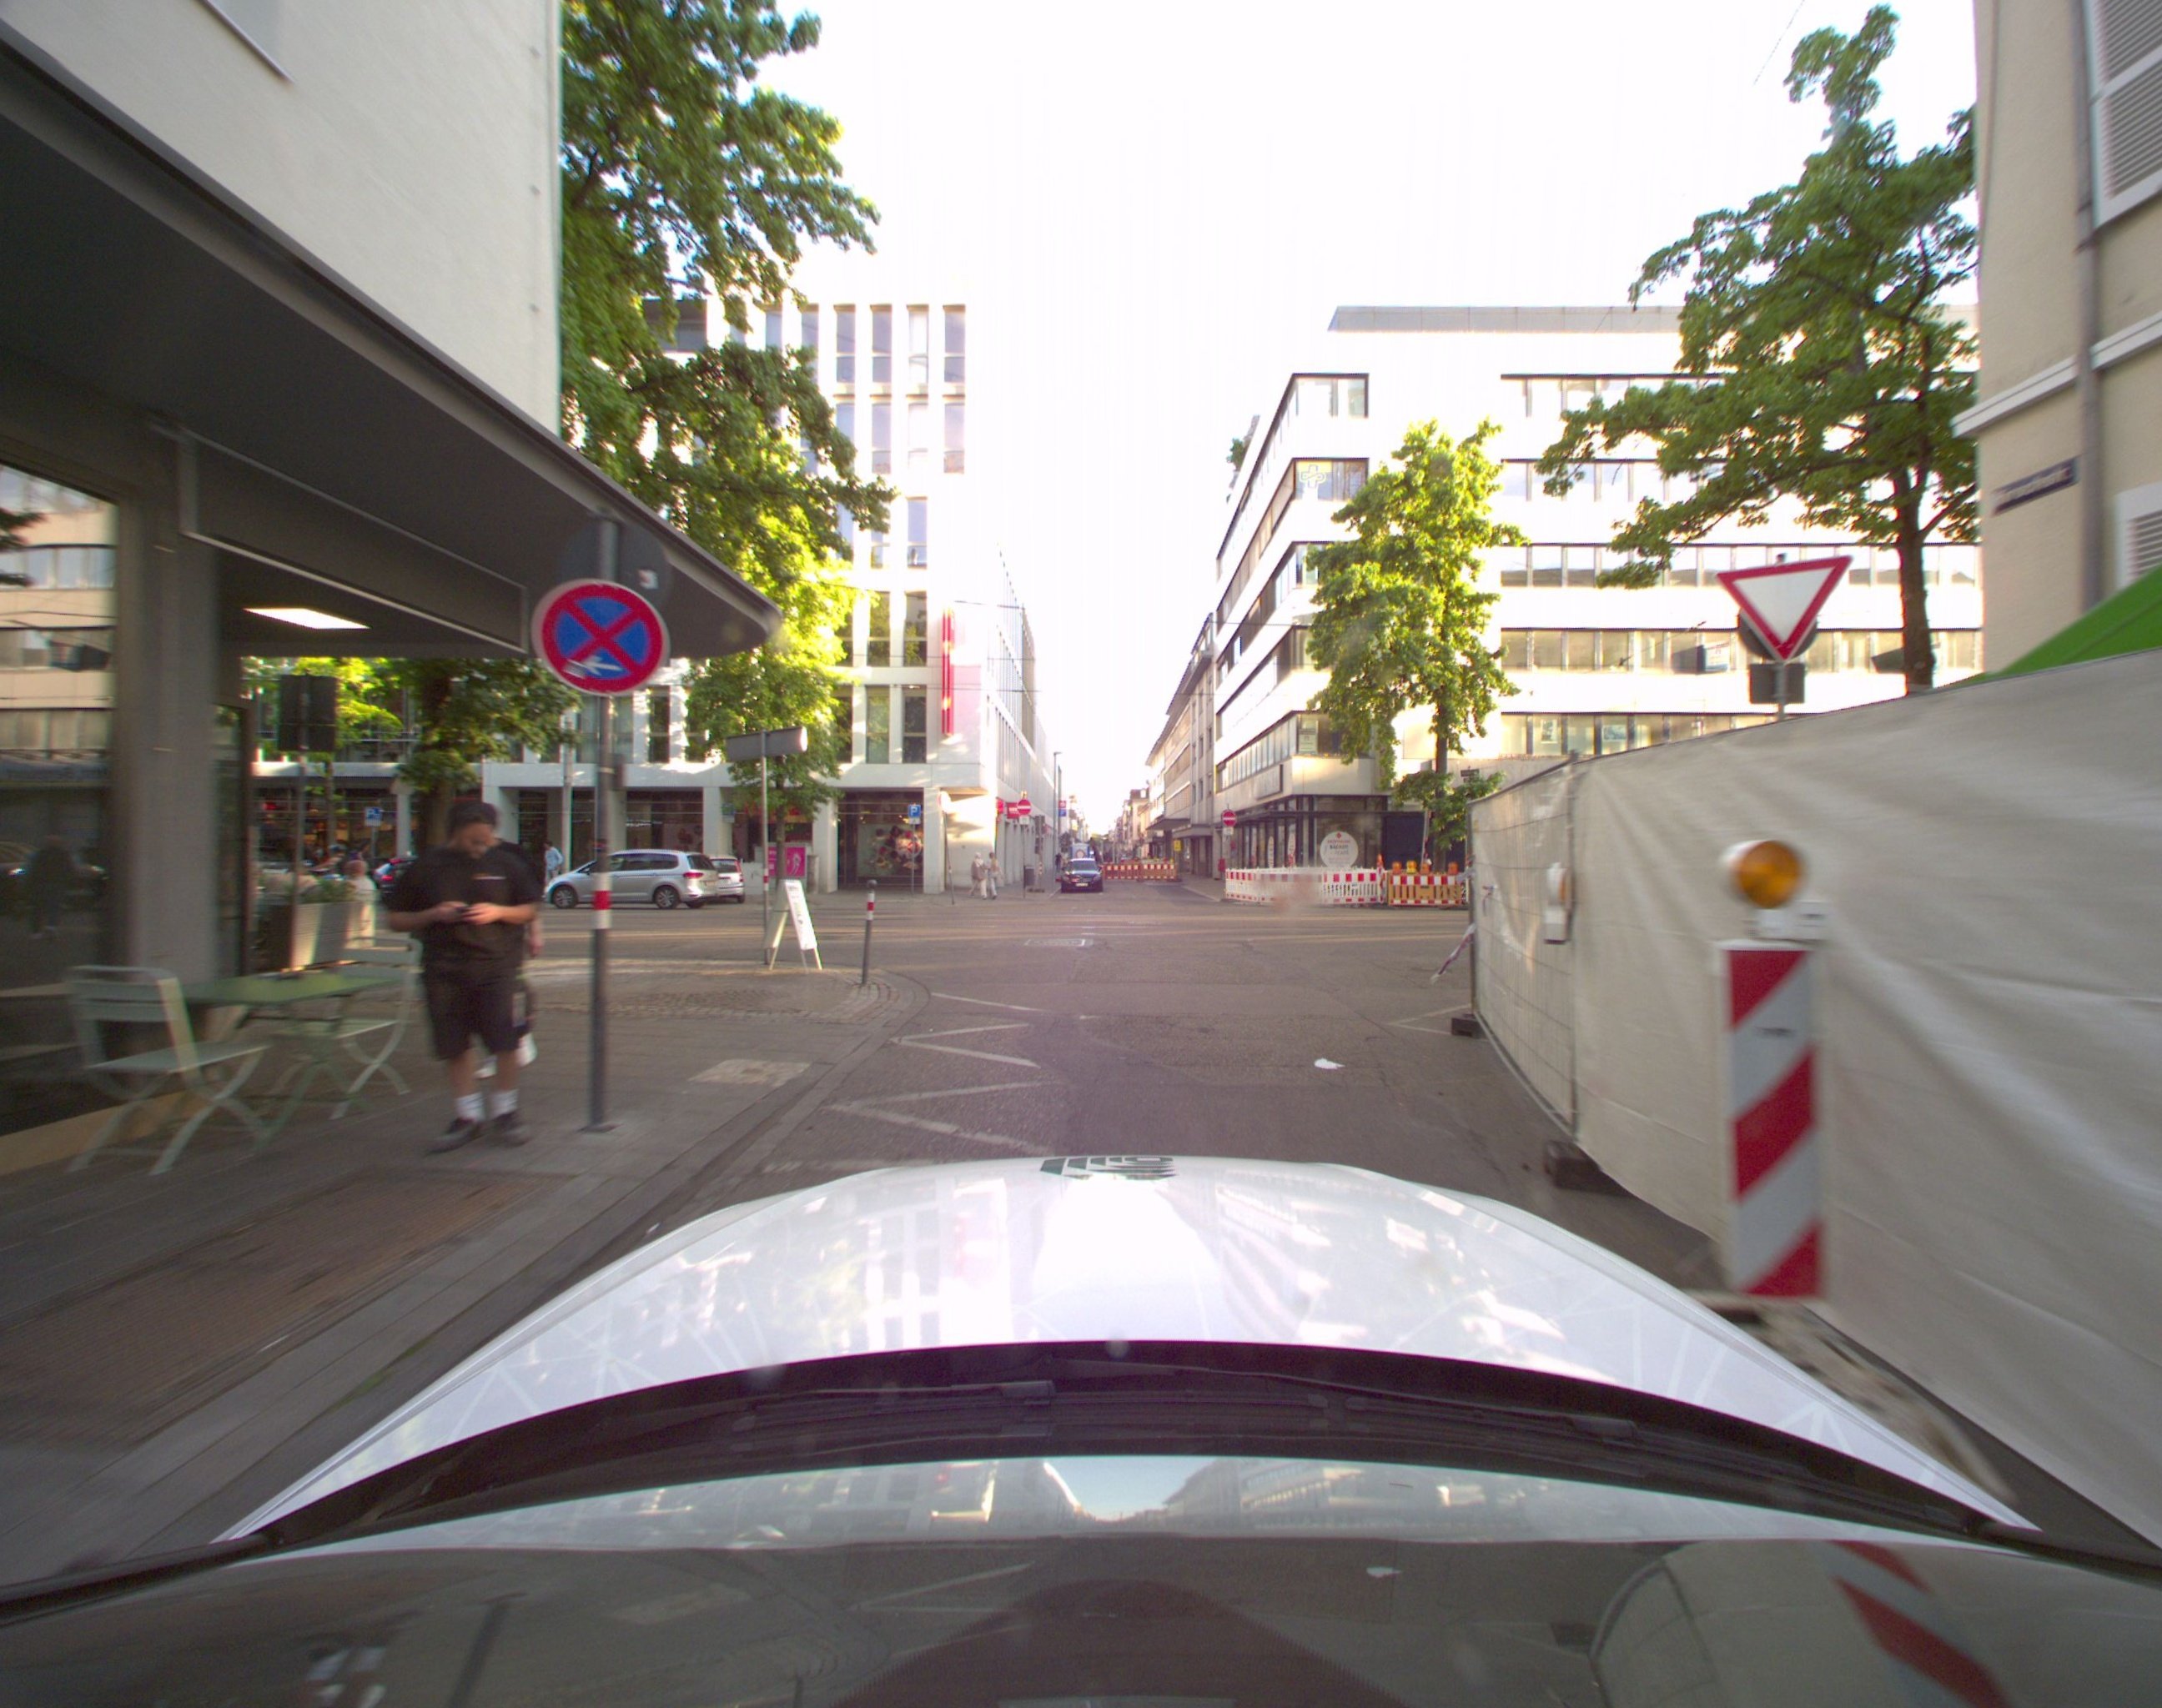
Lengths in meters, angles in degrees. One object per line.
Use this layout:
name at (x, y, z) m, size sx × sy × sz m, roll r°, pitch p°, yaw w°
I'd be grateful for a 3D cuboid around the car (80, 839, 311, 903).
car at (-24.758, 0.488, 22.912) m, size 4.259 × 1.738 × 1.867 m, roll 0°, pitch -2°, yaw -2°

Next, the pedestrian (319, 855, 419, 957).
pedestrian at (-9.945, 0.711, 11.401) m, size 0.709 × 1.358 × 0.730 m, roll 2°, pitch 0°, yaw -3°

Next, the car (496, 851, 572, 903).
car at (-18.384, 0.709, 27.493) m, size 1.593 × 1.505 × 3.563 m, roll -1°, pitch 2°, yaw -26°

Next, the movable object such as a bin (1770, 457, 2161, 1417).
movable object such as a bin at (4.467, 0.236, 1.546) m, size 2.595 × 2.839 × 4.451 m, roll -1°, pitch 0°, yaw 1°

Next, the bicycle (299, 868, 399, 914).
bicycle at (-18.960, 0.955, 21.105) m, size 2.045 × 1.151 × 0.512 m, roll 0°, pitch 0°, yaw -3°

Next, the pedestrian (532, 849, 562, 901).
pedestrian at (-16.865, 0.650, 25.743) m, size 0.641 × 1.627 × 0.639 m, roll 0°, pitch 0°, yaw -20°

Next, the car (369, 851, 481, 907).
car at (-21.130, 0.731, 26.427) m, size 1.954 × 1.505 × 3.965 m, roll -1°, pitch 2°, yaw -26°

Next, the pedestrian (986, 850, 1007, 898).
pedestrian at (-2.939, 0.670, 28.303) m, size 0.610 × 1.627 × 0.869 m, roll -1°, pitch 0°, yaw -13°

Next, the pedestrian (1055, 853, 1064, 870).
pedestrian at (-1.902, 0.641, 71.621) m, size 0.713 × 1.464 × 0.526 m, roll -1°, pitch 0°, yaw 3°

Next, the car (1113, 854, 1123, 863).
car at (7.941, 0.910, 174.761) m, size 1.986 × 1.776 × 4.001 m, roll -1°, pitch 0°, yaw 1°

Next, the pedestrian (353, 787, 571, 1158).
pedestrian at (-3.009, 0.538, 4.023) m, size 0.687 × 1.668 × 0.503 m, roll 2°, pitch -1°, yaw -21°

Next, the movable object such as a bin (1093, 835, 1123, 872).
movable object such as a bin at (2.015, -0.026, 60.845) m, size 2.149 × 2.664 × 4.573 m, roll 0°, pitch 0°, yaw 1°

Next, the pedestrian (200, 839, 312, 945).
pedestrian at (-11.111, 0.494, 10.993) m, size 0.709 × 1.358 × 0.730 m, roll 2°, pitch 0°, yaw -3°

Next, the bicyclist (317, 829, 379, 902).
bicyclist at (-18.960, 0.292, 21.080) m, size 0.985 × 1.855 × 0.654 m, roll 0°, pitch -1°, yaw -1°

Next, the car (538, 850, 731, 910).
car at (-12.263, 0.723, 22.600) m, size 4.260 × 1.593 × 1.826 m, roll 0°, pitch -2°, yaw -3°

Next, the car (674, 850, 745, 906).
car at (-12.083, 0.699, 26.465) m, size 1.954 × 1.505 × 3.965 m, roll -1°, pitch 2°, yaw -26°

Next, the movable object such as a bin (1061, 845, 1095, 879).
movable object such as a bin at (-0.154, 0.488, 50.938) m, size 1.986 × 2.013 × 4.002 m, roll -1°, pitch 0°, yaw 2°

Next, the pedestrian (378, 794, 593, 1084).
pedestrian at (-3.749, 0.498, 5.226) m, size 0.798 × 1.668 × 0.897 m, roll 2°, pitch -1°, yaw -16°

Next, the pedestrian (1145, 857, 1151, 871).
pedestrian at (7.208, 1.059, 87.424) m, size 0.521 × 1.464 × 0.720 m, roll 0°, pitch 0°, yaw 9°

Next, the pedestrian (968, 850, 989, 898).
pedestrian at (-3.560, 0.679, 28.144) m, size 0.610 × 1.627 × 0.869 m, roll -1°, pitch 0°, yaw -13°

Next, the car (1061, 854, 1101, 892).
car at (-0.020, 0.785, 35.652) m, size 1.625 × 1.550 × 3.140 m, roll -1°, pitch 0°, yaw -2°

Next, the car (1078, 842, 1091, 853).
car at (0.531, -1.026, 130.482) m, size 1.986 × 1.776 × 4.001 m, roll -1°, pitch 0°, yaw 1°

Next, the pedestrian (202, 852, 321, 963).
pedestrian at (-10.312, 0.649, 10.273) m, size 0.727 × 1.328 × 0.713 m, roll 2°, pitch 0°, yaw -2°

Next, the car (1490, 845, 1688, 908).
car at (15.764, 0.667, 25.486) m, size 4.913 × 1.775 × 2.023 m, roll 0°, pitch 2°, yaw 1°
